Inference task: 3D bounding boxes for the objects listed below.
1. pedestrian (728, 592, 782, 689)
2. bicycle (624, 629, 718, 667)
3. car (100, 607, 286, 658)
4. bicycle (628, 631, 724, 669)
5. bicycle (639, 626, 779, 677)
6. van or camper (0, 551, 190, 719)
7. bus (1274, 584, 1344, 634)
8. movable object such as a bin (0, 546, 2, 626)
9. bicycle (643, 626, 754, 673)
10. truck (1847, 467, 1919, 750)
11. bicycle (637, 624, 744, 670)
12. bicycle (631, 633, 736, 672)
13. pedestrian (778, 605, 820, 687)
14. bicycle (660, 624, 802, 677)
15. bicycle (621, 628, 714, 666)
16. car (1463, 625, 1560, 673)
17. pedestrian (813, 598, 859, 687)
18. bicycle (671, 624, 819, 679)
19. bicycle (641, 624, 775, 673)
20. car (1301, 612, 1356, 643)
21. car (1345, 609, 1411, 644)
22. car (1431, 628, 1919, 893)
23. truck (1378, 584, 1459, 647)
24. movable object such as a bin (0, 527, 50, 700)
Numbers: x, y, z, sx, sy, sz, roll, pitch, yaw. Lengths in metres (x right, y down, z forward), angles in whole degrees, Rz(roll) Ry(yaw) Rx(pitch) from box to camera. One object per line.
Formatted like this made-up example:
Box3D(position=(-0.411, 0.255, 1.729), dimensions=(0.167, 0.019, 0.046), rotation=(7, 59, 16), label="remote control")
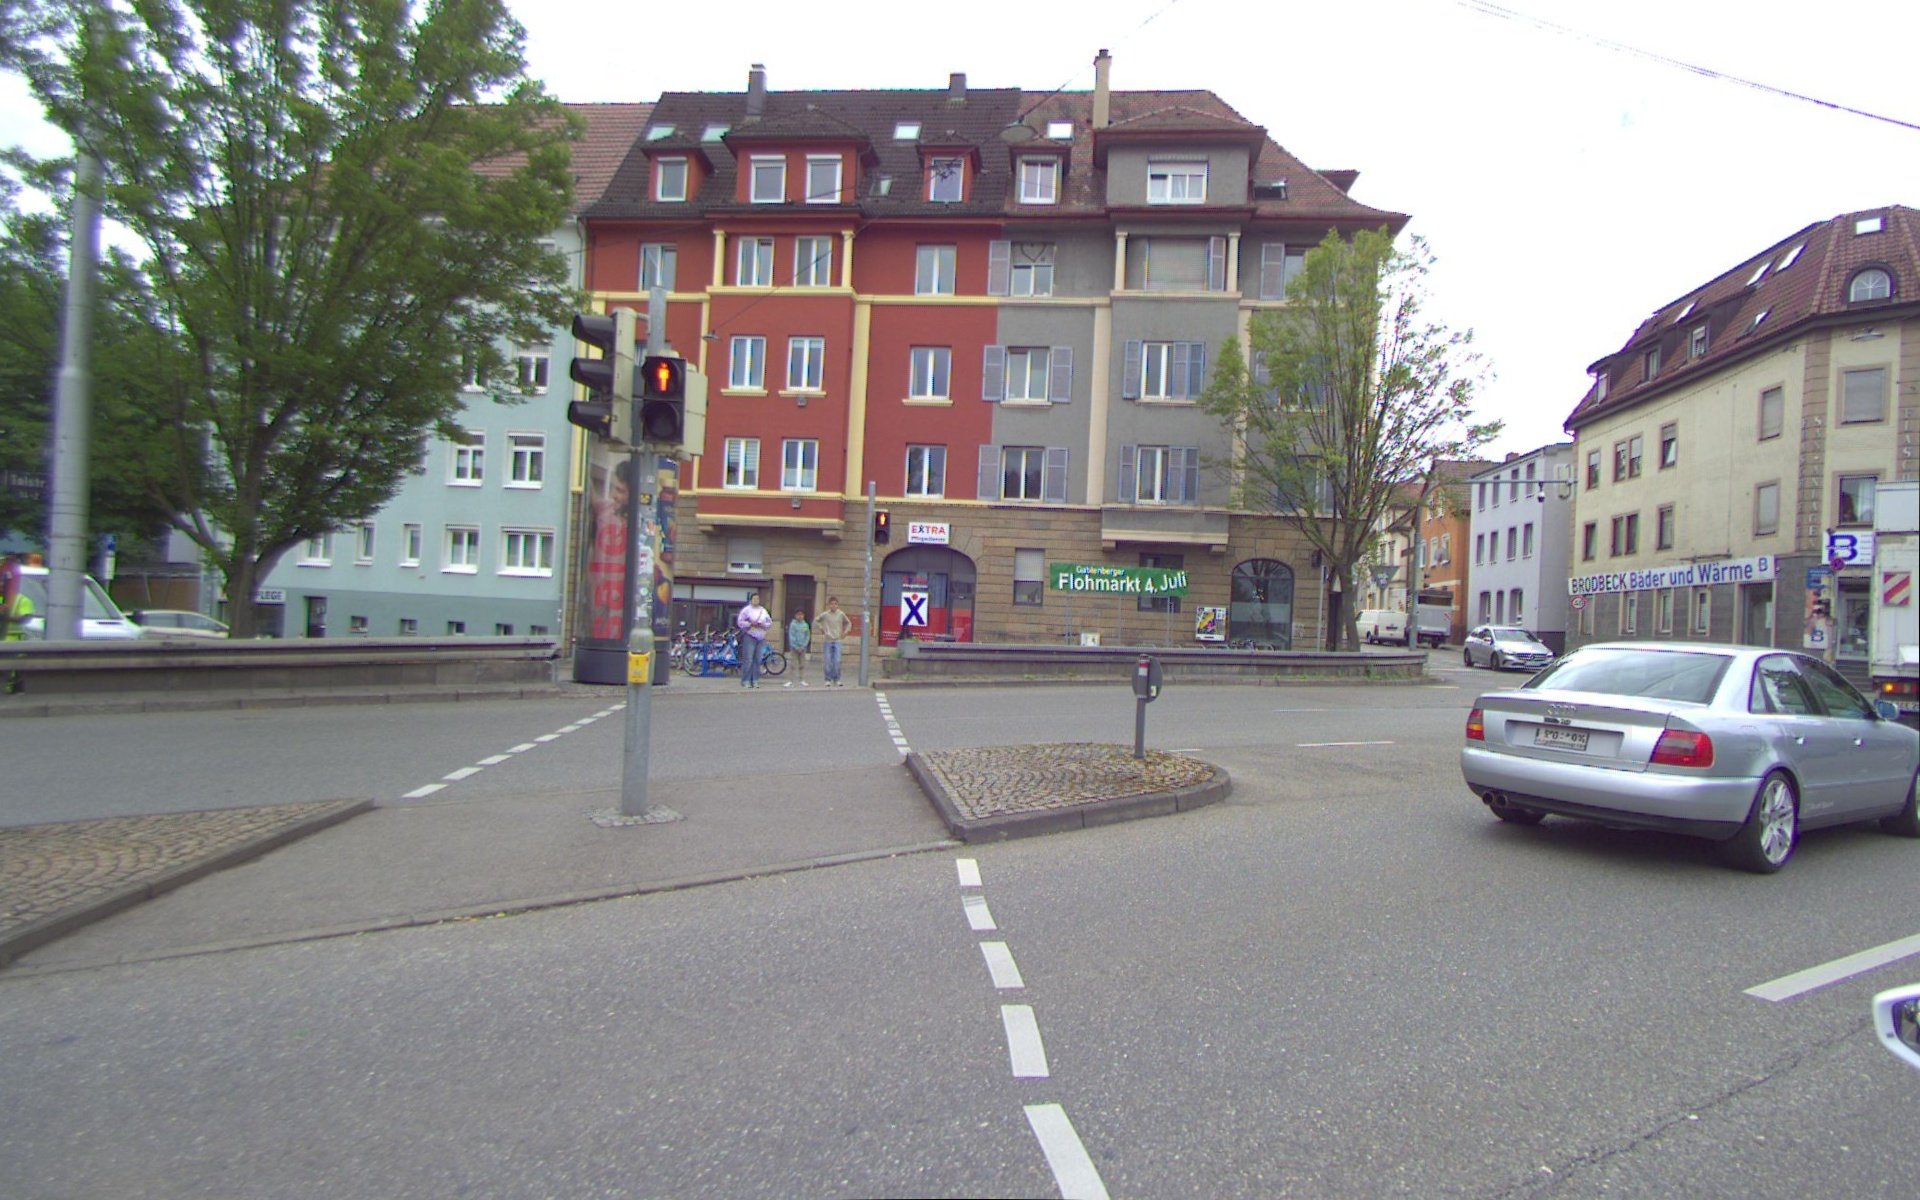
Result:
Box3D(position=(-3.457, 0.665, 16.895), dimensions=(0.728, 1.567, 0.790), rotation=(1, 0, -23), label="pedestrian")
Box3D(position=(-8.676, 1.444, 30.223), dimensions=(2.630, 1.084, 0.630), rotation=(2, 0, -30), label="bicycle")
Box3D(position=(-22.862, 0.949, 30.066), dimensions=(1.764, 1.388, 4.138), rotation=(2, 0, 39), label="car")
Box3D(position=(-8.369, 1.475, 29.654), dimensions=(2.631, 1.084, 0.630), rotation=(2, 0, -31), label="bicycle")
Box3D(position=(-6.351, 1.300, 25.560), dimensions=(3.319, 1.218, 0.898), rotation=(2, 0, -31), label="bicycle")
Box3D(position=(-16.049, 0.423, 16.030), dimensions=(5.884, 2.369, 2.690), rotation=(2, 0, 11), label="van or camper")
Box3D(position=(25.126, 0.582, 72.702), dimensions=(2.754, 3.286, 7.665), rotation=(3, 1, 5), label="bus")
Box3D(position=(-21.973, -0.208, 20.593), dimensions=(2.372, 2.099, 6.192), rotation=(2, 0, -35), label="movable object such as a bin")
Box3D(position=(-7.148, 1.348, 27.526), dimensions=(2.801, 1.218, 0.812), rotation=(2, 0, -30), label="bicycle")
Box3D(position=(15.561, 0.230, 15.306), dimensions=(2.696, 3.591, 8.372), rotation=(3, 0, 43), label="truck")
Box3D(position=(-7.574, 1.330, 28.290), dimensions=(2.801, 1.218, 0.812), rotation=(2, 0, -30), label="bicycle")
Box3D(position=(-7.973, 1.514, 29.035), dimensions=(2.801, 1.034, 0.812), rotation=(2, 0, -30), label="bicycle")
Box3D(position=(-2.755, 0.774, 17.178), dimensions=(0.576, 1.356, 0.573), rotation=(1, 0, -23), label="pedestrian")
Box3D(position=(-5.621, 1.241, 24.824), dimensions=(3.319, 1.218, 0.812), rotation=(2, 0, -31), label="bicycle")
Box3D(position=(-8.952, 1.444, 30.811), dimensions=(2.630, 1.084, 0.630), rotation=(2, 0, -30), label="bicycle")
Box3D(position=(19.453, 1.685, 35.640), dimensions=(1.842, 1.489, 3.978), rotation=(2, -1, 11), label="car")
Box3D(position=(-2.154, 0.728, 17.383), dimensions=(0.644, 1.507, 0.521), rotation=(1, 0, -23), label="pedestrian")
Box3D(position=(-5.060, 1.217, 23.773), dimensions=(3.319, 1.218, 0.812), rotation=(2, 0, -31), label="bicycle")
Box3D(position=(-6.657, 1.276, 26.644), dimensions=(3.319, 1.218, 0.898), rotation=(2, 0, -31), label="bicycle")
Box3D(position=(21.321, 1.557, 58.304), dimensions=(1.960, 1.623, 4.001), rotation=(1, 0, 4), label="car")
Box3D(position=(23.801, 1.490, 57.366), dimensions=(2.024, 1.823, 4.337), rotation=(1, 0, 2), label="car")
Box3D(position=(5.467, 0.961, 7.309), dimensions=(4.079, 1.383, 1.621), rotation=(2, 1, -30), label="car")
Box3D(position=(26.770, 0.869, 58.904), dimensions=(2.645, 3.399, 5.441), rotation=(3, 1, 7), label="truck")
Box3D(position=(-12.634, 0.134, 11.140), dimensions=(1.356, 2.040, 3.527), rotation=(1, 0, 33), label="movable object such as a bin")
